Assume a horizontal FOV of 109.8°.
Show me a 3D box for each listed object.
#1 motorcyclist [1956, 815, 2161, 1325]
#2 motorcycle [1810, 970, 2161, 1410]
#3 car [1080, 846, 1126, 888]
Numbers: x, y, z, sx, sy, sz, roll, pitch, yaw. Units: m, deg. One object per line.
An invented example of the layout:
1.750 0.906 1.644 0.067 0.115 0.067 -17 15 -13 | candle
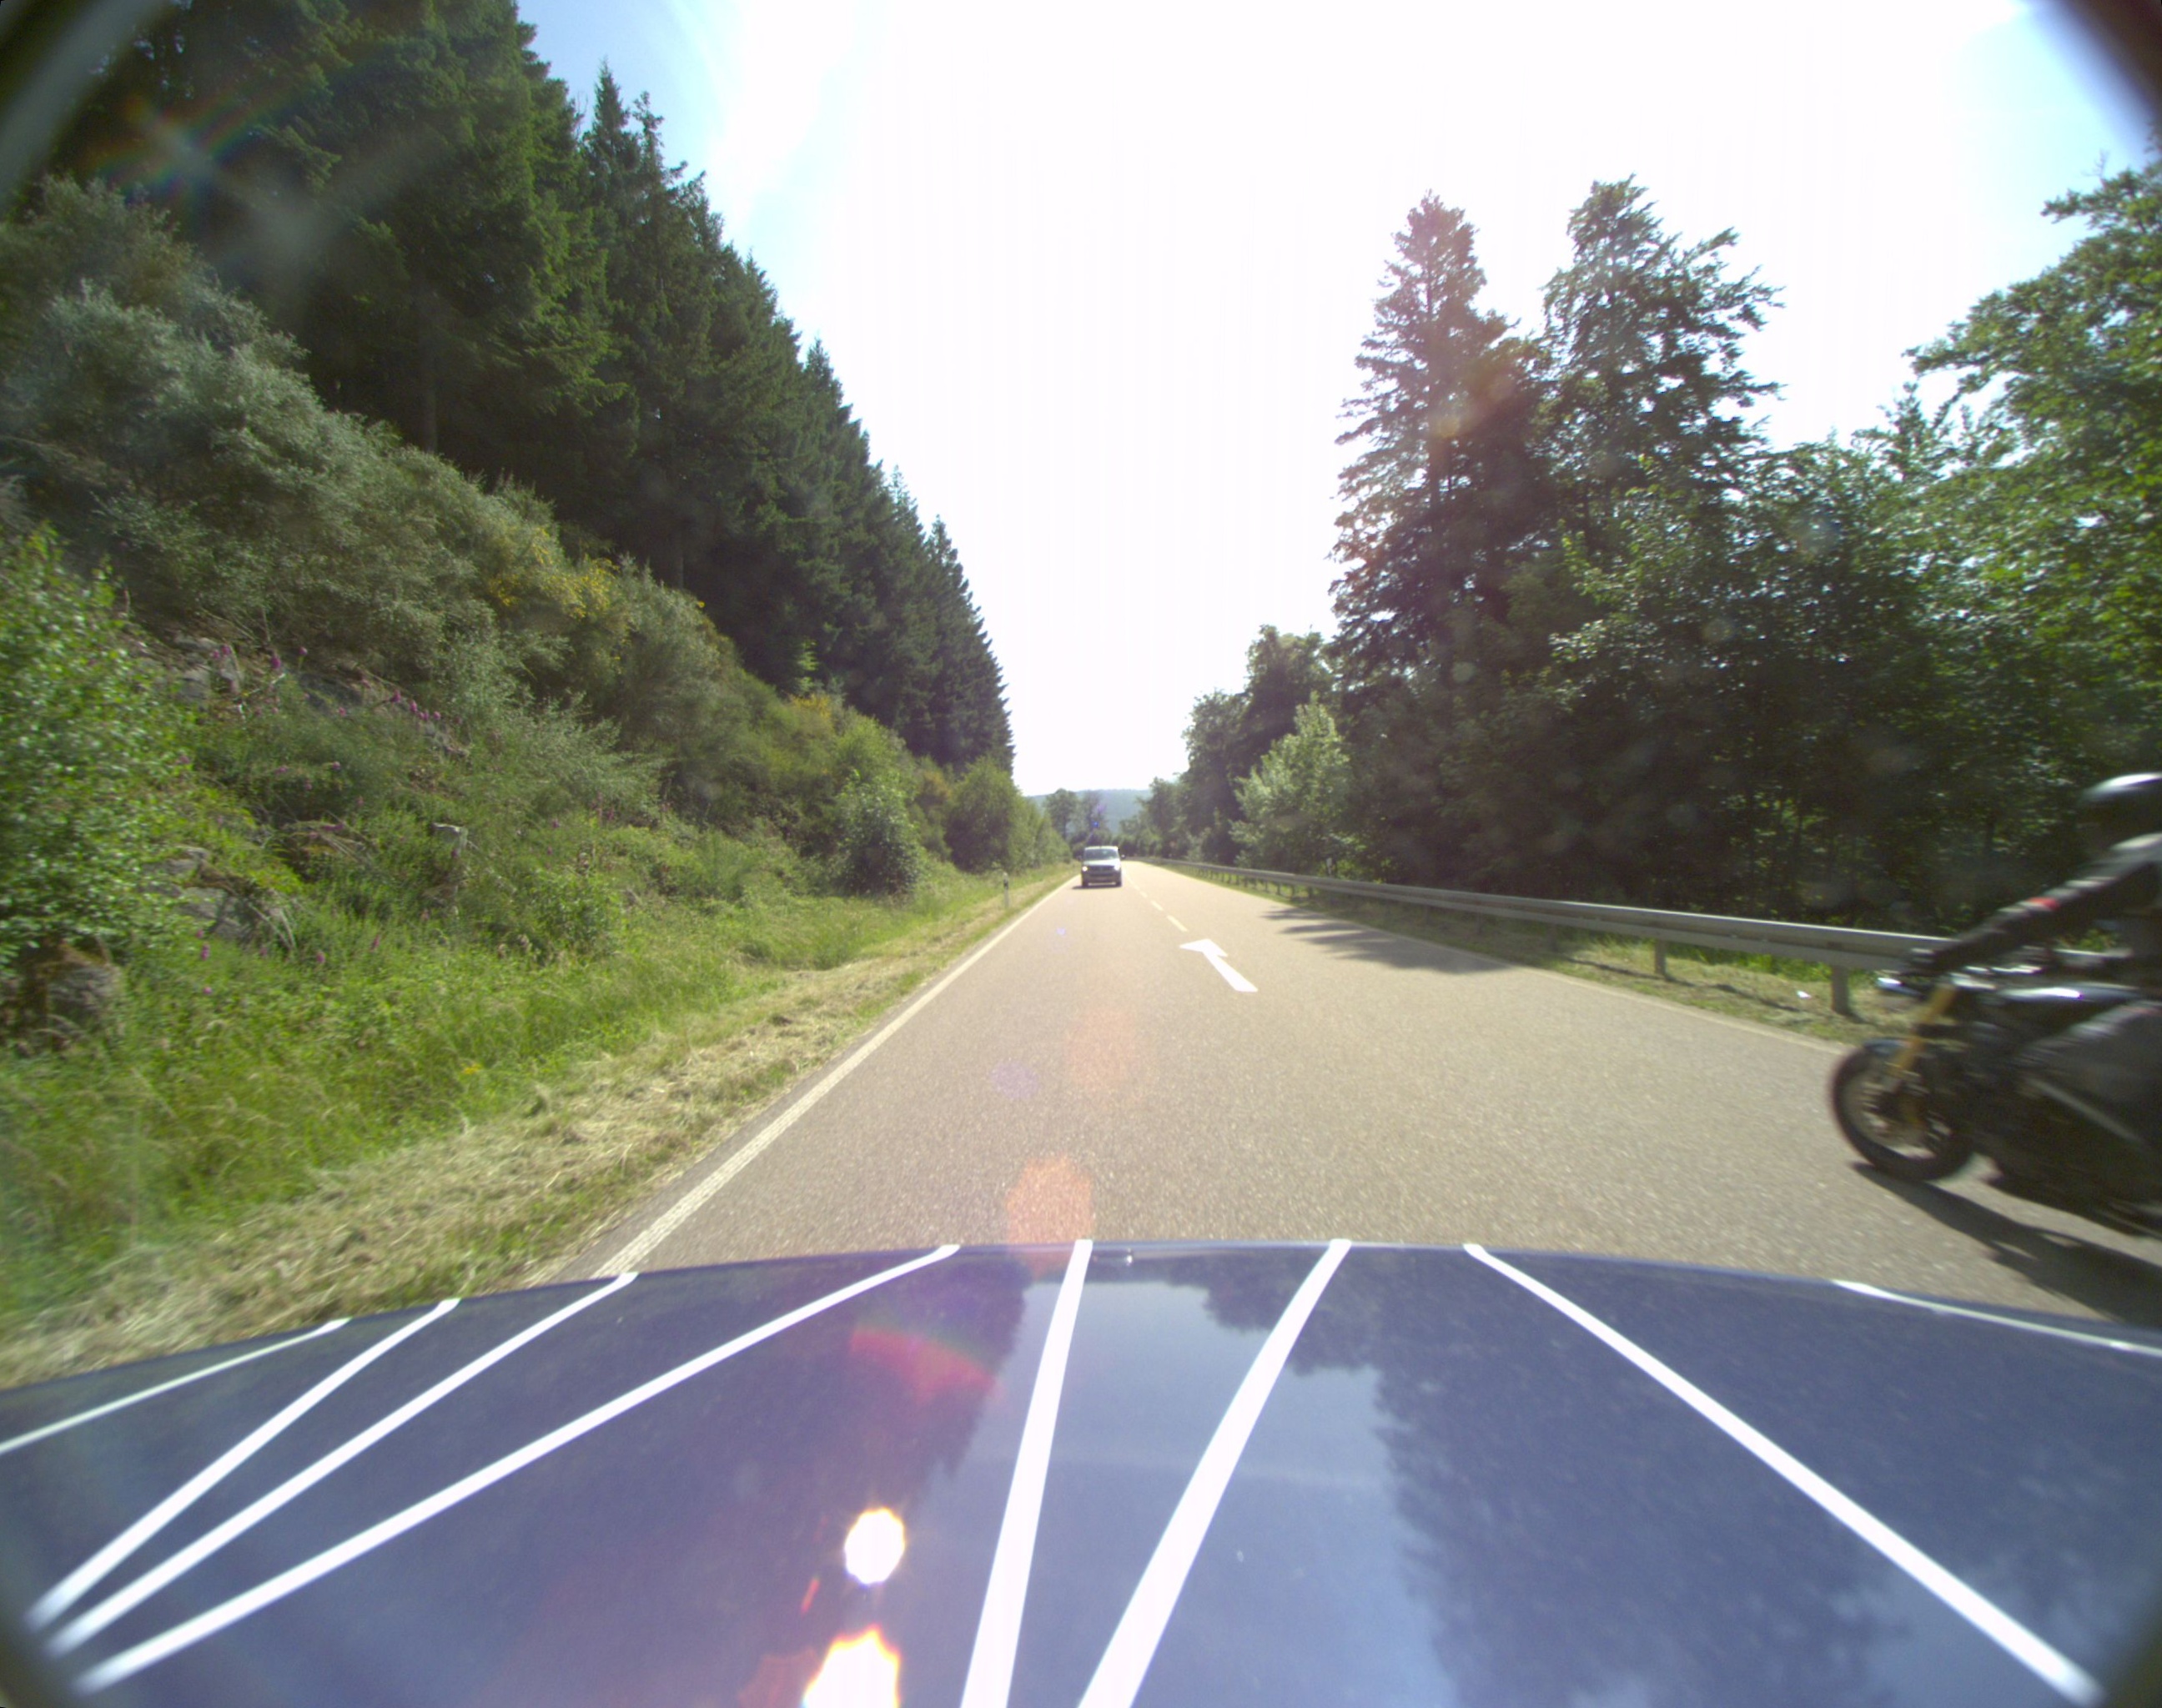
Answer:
3.502 0.630 2.284 0.660 1.504 0.934 -1 1 1 | motorcyclist
3.562 1.039 2.235 0.987 1.065 1.963 -2 0 2 | motorcycle
1.154 0.594 36.973 1.990 1.899 4.761 -1 0 4 | car
